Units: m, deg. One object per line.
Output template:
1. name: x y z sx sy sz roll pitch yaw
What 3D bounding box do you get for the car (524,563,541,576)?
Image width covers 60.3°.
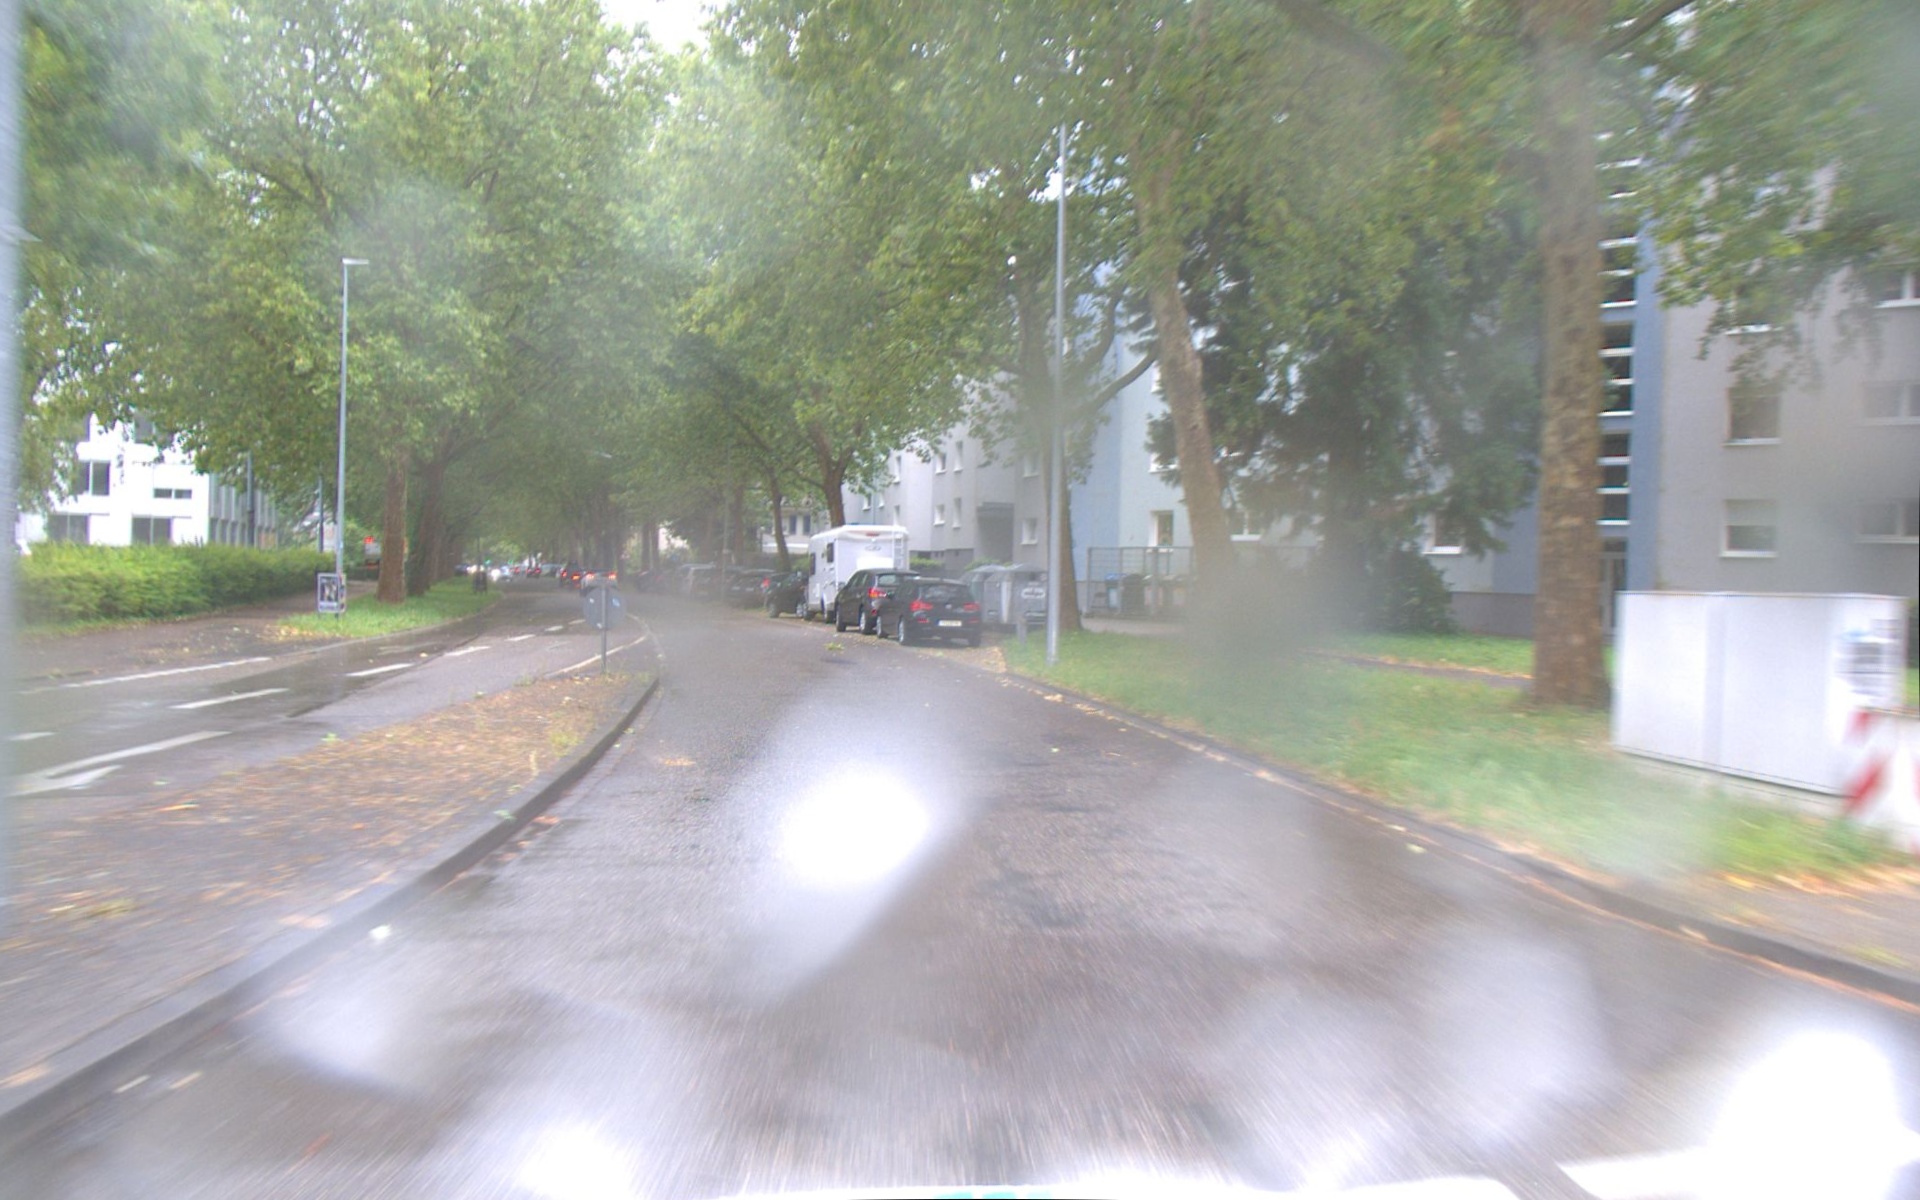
1. car: -48.499 -3.435 187.548 1.678 1.436 3.629 -1 2 -16

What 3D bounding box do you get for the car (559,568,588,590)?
1. car: -26.135 -1.437 111.751 1.678 1.436 3.629 -1 2 -16

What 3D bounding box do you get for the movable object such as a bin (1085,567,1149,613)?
1. movable object such as a bin: 5.172 -0.340 54.632 1.202 1.457 1.841 2 1 -34

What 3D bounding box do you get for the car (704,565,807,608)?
1. car: -8.382 -0.542 68.016 1.772 1.629 3.973 3 1 43

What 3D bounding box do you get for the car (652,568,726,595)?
1. car: -15.476 -1.069 94.441 3.975 1.466 1.676 -1 2 -20

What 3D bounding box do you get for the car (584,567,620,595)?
1. car: -19.505 -1.034 90.043 1.678 1.436 3.629 -1 2 -16

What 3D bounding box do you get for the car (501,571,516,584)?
1. car: -52.476 -2.651 192.163 1.651 1.413 4.530 0 1 -16

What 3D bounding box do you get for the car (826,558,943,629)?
1. car: -1.979 -0.141 42.008 1.885 1.648 4.432 2 -1 -17

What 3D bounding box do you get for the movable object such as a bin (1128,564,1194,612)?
1. movable object such as a bin: 6.465 -0.404 53.269 1.202 1.457 1.841 2 1 -34

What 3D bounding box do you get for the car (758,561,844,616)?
1. car: -5.306 -0.394 54.950 1.671 1.681 2.914 2 1 -32

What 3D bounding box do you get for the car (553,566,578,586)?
1. car: -30.786 -1.879 128.973 1.678 1.436 3.629 -1 2 -16

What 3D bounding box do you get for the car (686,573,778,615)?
1. car: -10.301 -0.309 74.820 3.839 1.726 1.808 -2 4 -44

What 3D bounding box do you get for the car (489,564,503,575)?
1. car: -61.772 -4.120 220.119 1.678 1.436 3.629 -1 2 -16

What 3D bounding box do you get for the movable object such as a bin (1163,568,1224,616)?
1. movable object such as a bin: 7.330 -0.255 51.888 1.305 1.457 1.354 2 1 -34

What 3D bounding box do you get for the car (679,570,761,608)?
1. car: -12.264 -0.576 84.468 3.922 1.757 1.793 2 1 -16

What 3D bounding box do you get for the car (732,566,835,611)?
1. car: -6.881 -0.453 64.701 1.772 1.629 3.744 3 1 43

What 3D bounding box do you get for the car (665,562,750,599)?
1. car: -13.424 -1.031 87.907 4.268 1.792 1.811 2 1 -17

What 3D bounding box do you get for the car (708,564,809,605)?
1. car: -8.790 -0.678 72.253 3.969 1.629 2.003 1 1 -44

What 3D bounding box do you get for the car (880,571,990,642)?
1. car: -0.617 0.113 36.674 1.522 1.414 4.135 2 1 -14

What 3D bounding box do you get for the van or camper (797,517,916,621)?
1. van or camper: -3.212 -0.919 49.741 2.280 2.856 6.838 2 1 -14
